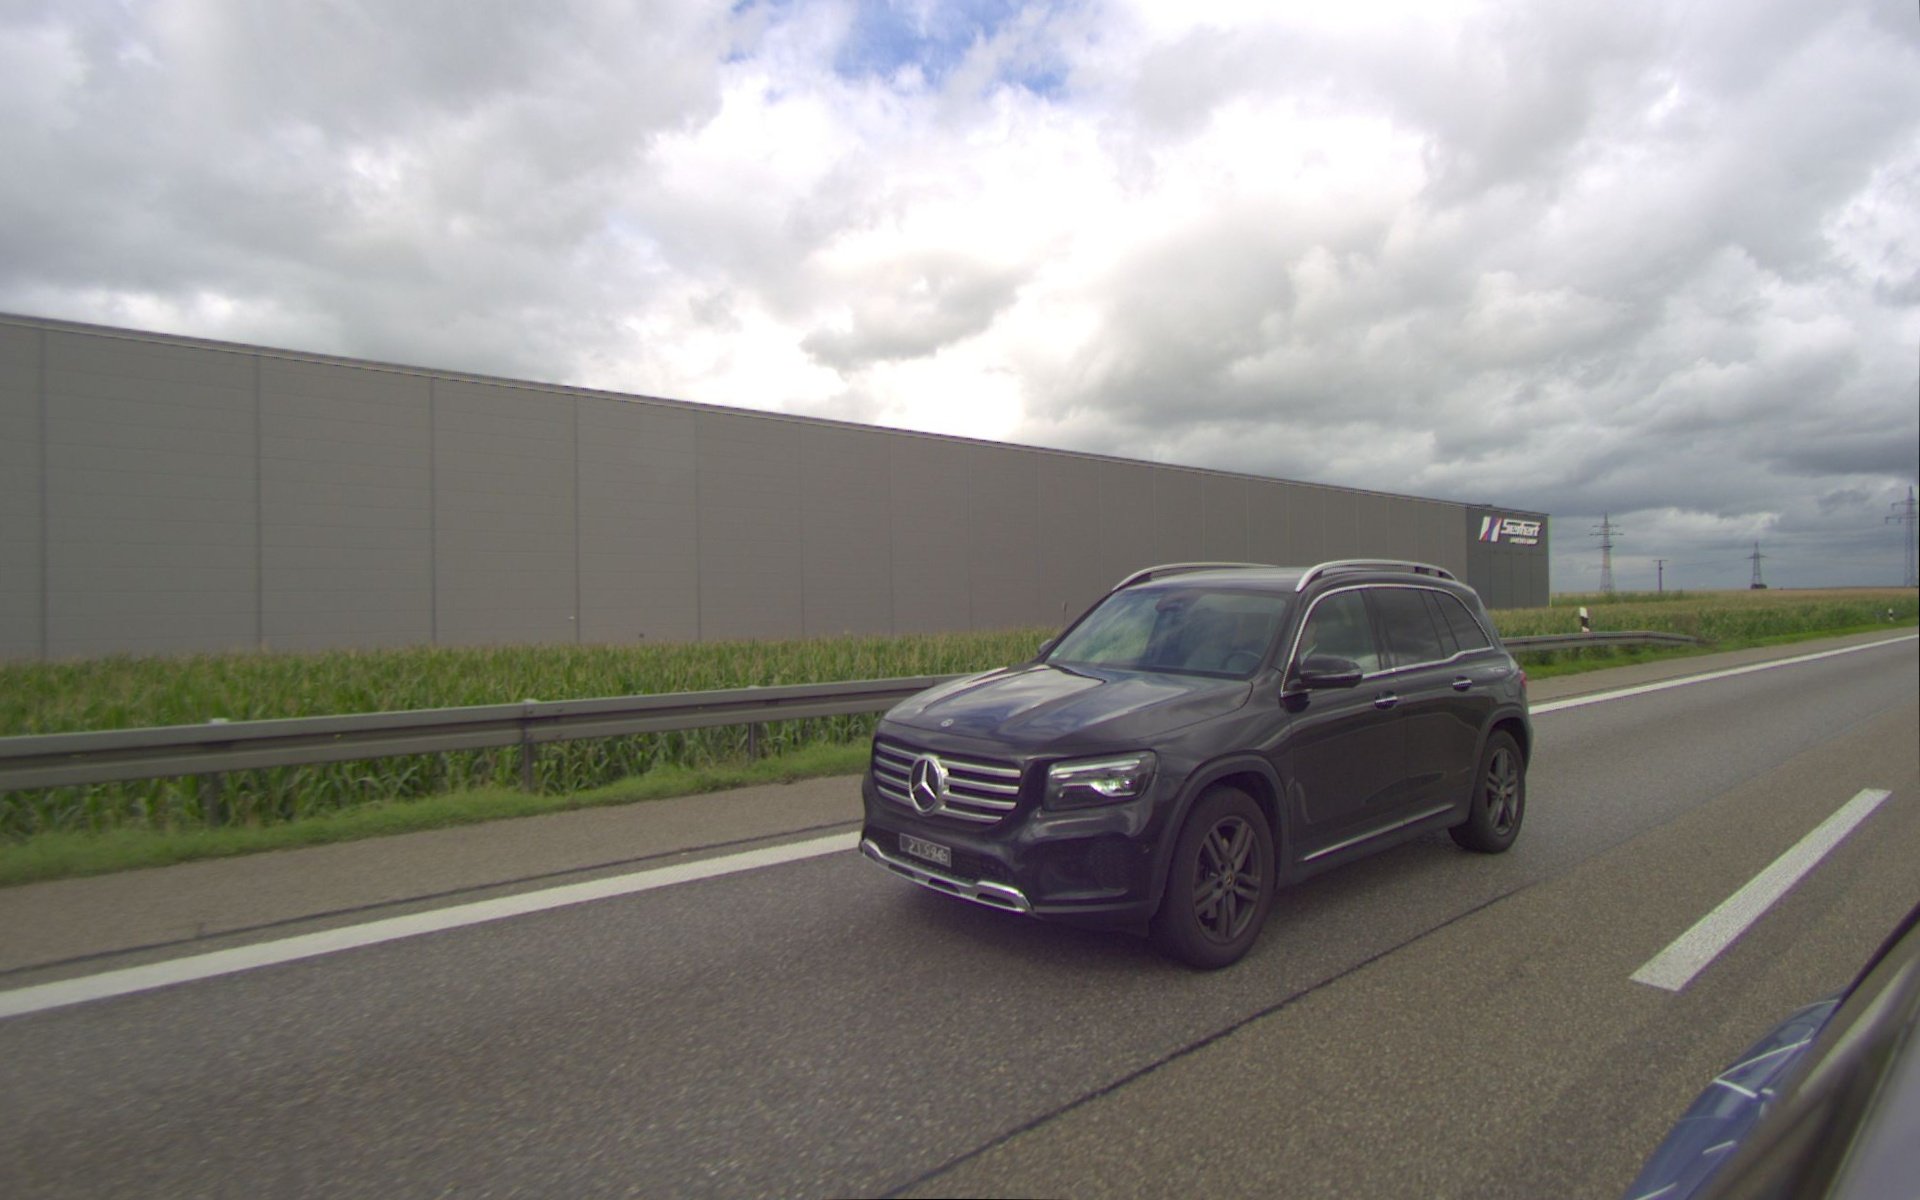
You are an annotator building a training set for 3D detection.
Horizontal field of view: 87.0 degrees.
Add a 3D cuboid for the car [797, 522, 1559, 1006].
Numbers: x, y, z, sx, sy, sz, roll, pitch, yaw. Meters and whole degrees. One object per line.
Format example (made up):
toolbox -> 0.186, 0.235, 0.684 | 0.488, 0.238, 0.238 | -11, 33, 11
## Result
car -> 1.445, 0.511, 5.502 | 4.284, 1.629, 1.837 | -1, 1, -40
